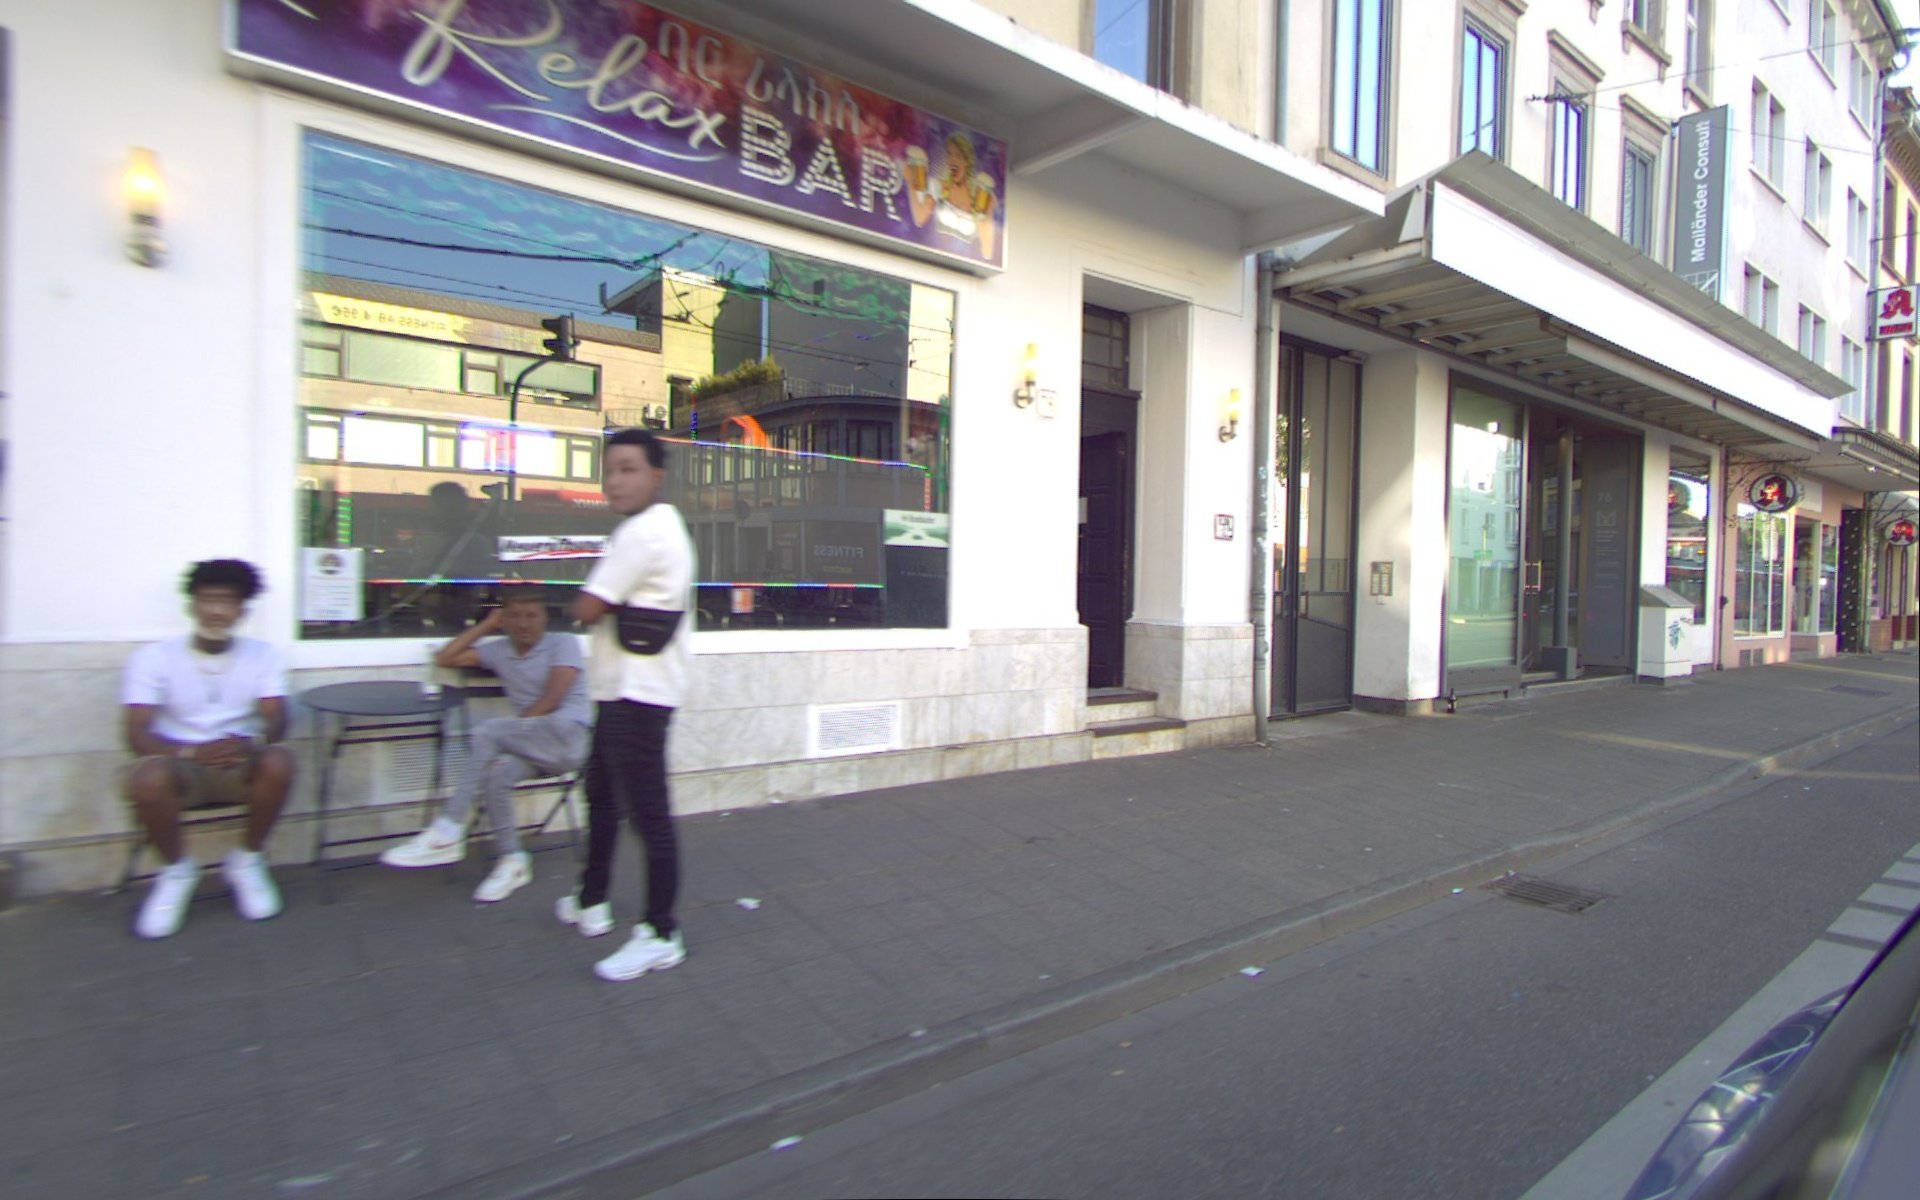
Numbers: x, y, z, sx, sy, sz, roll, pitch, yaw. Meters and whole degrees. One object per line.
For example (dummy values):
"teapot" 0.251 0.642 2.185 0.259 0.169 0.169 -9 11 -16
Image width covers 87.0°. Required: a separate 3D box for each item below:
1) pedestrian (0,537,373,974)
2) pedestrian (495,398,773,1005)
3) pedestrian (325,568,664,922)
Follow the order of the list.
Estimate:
"pedestrian" -2.741 0.468 3.603 0.820 1.269 0.703 9 6 17
"pedestrian" -1.127 0.298 3.437 0.665 1.832 0.710 5 6 -22
"pedestrian" -1.914 0.507 4.222 0.703 1.187 1.004 11 7 32
